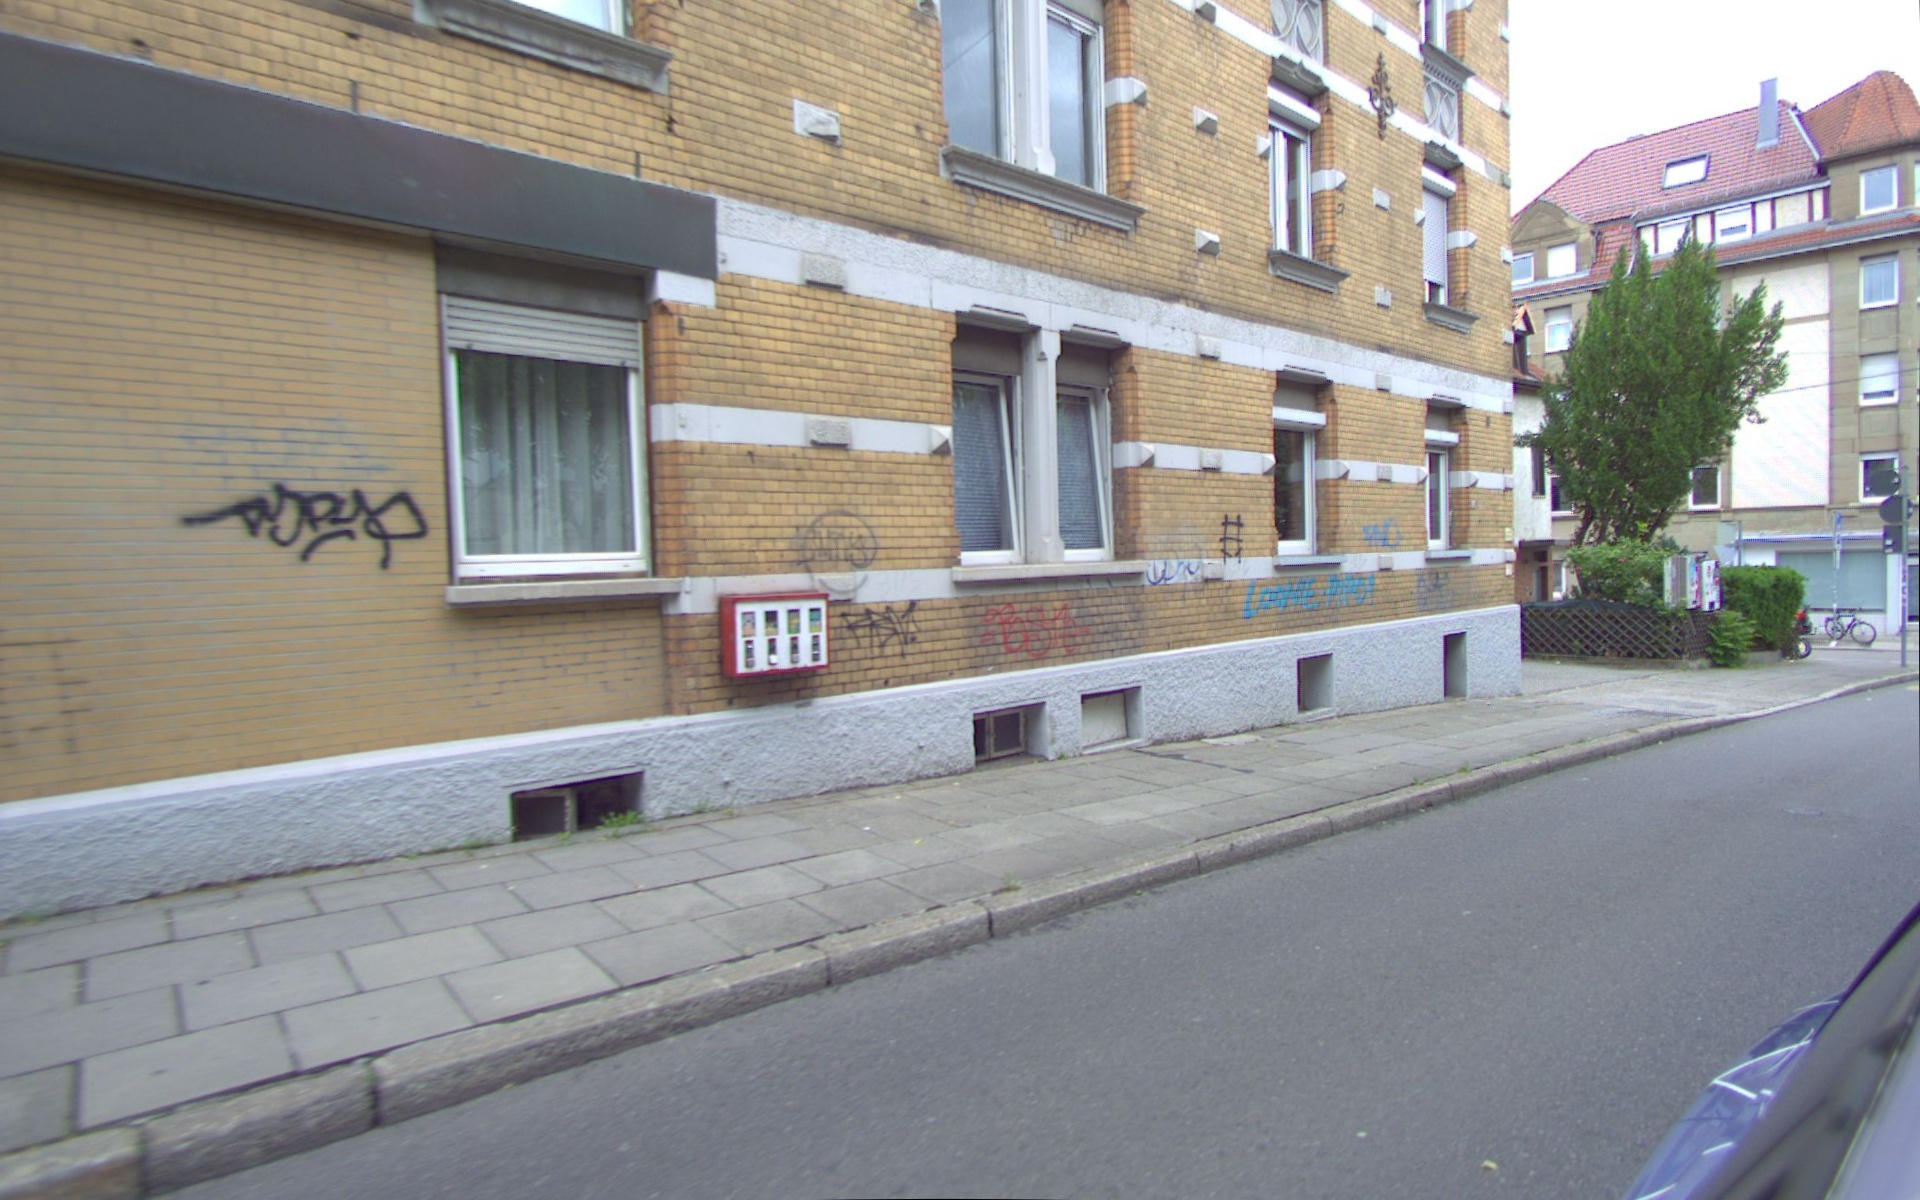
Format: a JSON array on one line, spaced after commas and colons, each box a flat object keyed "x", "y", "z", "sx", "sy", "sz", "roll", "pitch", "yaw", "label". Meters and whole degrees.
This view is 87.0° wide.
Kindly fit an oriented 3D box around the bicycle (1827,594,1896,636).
[{"x": 29.404, "y": 0.484, "z": 33.051, "sx": 0.631, "sy": 1.153, "sz": 2.071, "roll": -3, "pitch": 4, "yaw": 10, "label": "bicycle"}]

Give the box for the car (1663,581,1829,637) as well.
[{"x": 26.975, "y": 0.303, "z": 34.807, "sx": 4.361, "sy": 1.665, "sz": 1.761, "roll": -1, "pitch": 4, "yaw": 43, "label": "car"}]

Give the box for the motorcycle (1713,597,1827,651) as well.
[{"x": 20.241, "y": 0.591, "z": 25.318, "sx": 0.992, "sy": 1.284, "sz": 2.059, "roll": 0, "pitch": -1, "yaw": -40, "label": "motorcycle"}]
